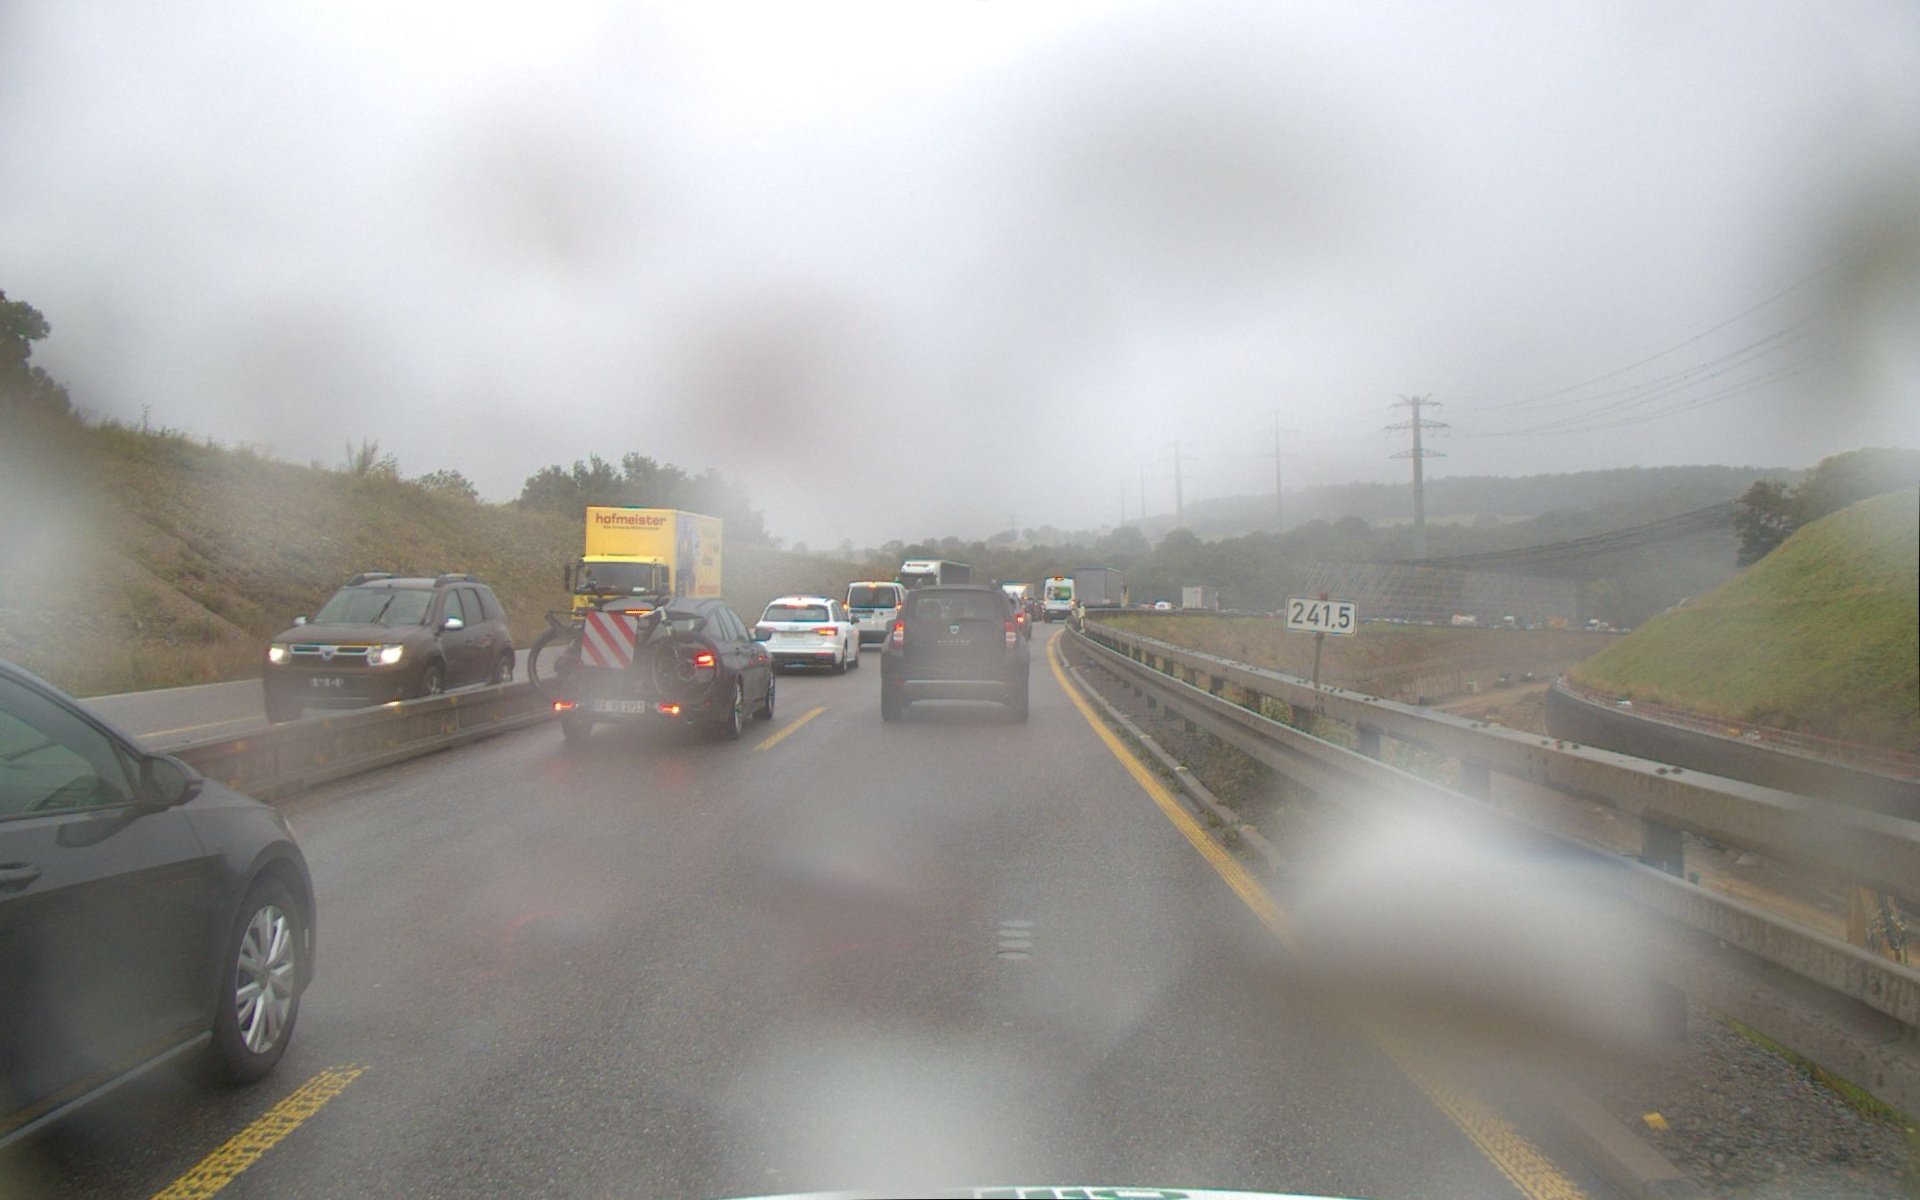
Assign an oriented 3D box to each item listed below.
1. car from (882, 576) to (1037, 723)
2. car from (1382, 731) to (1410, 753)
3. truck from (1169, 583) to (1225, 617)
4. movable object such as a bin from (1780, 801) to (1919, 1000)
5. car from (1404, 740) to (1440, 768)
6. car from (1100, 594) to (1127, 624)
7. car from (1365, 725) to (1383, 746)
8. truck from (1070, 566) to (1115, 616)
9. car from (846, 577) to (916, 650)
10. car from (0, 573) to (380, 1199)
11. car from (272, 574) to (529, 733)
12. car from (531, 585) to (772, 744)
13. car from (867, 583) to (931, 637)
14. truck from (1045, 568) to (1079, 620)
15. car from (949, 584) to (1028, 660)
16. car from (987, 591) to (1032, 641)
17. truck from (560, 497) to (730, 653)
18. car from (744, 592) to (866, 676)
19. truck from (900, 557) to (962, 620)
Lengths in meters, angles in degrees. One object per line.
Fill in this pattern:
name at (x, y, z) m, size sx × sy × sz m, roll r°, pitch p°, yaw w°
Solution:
car at (0.053, 0.569, 20.813) m, size 1.767 × 1.674 × 3.777 m, roll 0°, pitch 0°, yaw 2°
car at (44.096, 14.384, 167.325) m, size 1.951 × 1.847 × 4.002 m, roll 1°, pitch 0°, yaw 4°
truck at (31.456, 0.019, 218.977) m, size 4.619 × 4.222 × 15.689 m, roll 1°, pitch 0°, yaw 18°
movable object such as a bin at (22.423, 7.156, 39.817) m, size 3.148 × 3.934 × 4.122 m, roll 2°, pitch 1°, yaw 0°
car at (41.848, 13.951, 149.911) m, size 2.316 × 2.049 × 4.001 m, roll 1°, pitch 0°, yaw 2°
car at (10.205, 0.599, 110.045) m, size 1.737 × 1.949 × 4.003 m, roll 1°, pitch 0°, yaw 6°
car at (49.324, 16.112, 196.843) m, size 1.951 × 2.049 × 4.003 m, roll 1°, pitch 0°, yaw 15°
truck at (10.703, -0.684, 133.094) m, size 3.132 × 3.827 × 8.516 m, roll 1°, pitch 0°, yaw 7°
car at (-2.146, 0.349, 45.977) m, size 1.626 × 1.912 × 4.020 m, roll 1°, pitch 0°, yaw 1°
car at (-2.805, 0.726, 3.598) m, size 1.581 × 1.532 × 4.367 m, roll -1°, pitch 0°, yaw -1°
car at (-6.411, 0.558, 19.424) m, size 1.725 × 1.625 × 3.999 m, roll 1°, pitch 0°, yaw -2°
car at (-3.152, 0.617, 17.642) m, size 1.791 × 1.502 × 3.777 m, roll 0°, pitch 0°, yaw 1°
car at (-2.062, 0.314, 56.774) m, size 1.829 × 1.738 × 4.093 m, roll 1°, pitch 0°, yaw 2°
truck at (6.644, -0.398, 107.864) m, size 2.104 × 3.221 × 6.462 m, roll 1°, pitch 0°, yaw 4°
car at (0.713, 0.514, 40.659) m, size 1.829 × 1.738 × 4.001 m, roll 1°, pitch 0°, yaw 1°
car at (1.747, 0.548, 58.327) m, size 1.499 × 1.669 × 4.013 m, roll 1°, pitch 0°, yaw 2°
truck at (-8.881, -0.678, 47.718) m, size 2.710 × 4.066 × 8.427 m, roll 1°, pitch 0°, yaw 4°
car at (-2.962, 0.613, 32.426) m, size 1.829 × 1.486 × 4.549 m, roll 1°, pitch 0°, yaw 1°
truck at (-1.925, -0.795, 118.474) m, size 2.871 × 4.169 × 14.399 m, roll 1°, pitch 0°, yaw 5°
